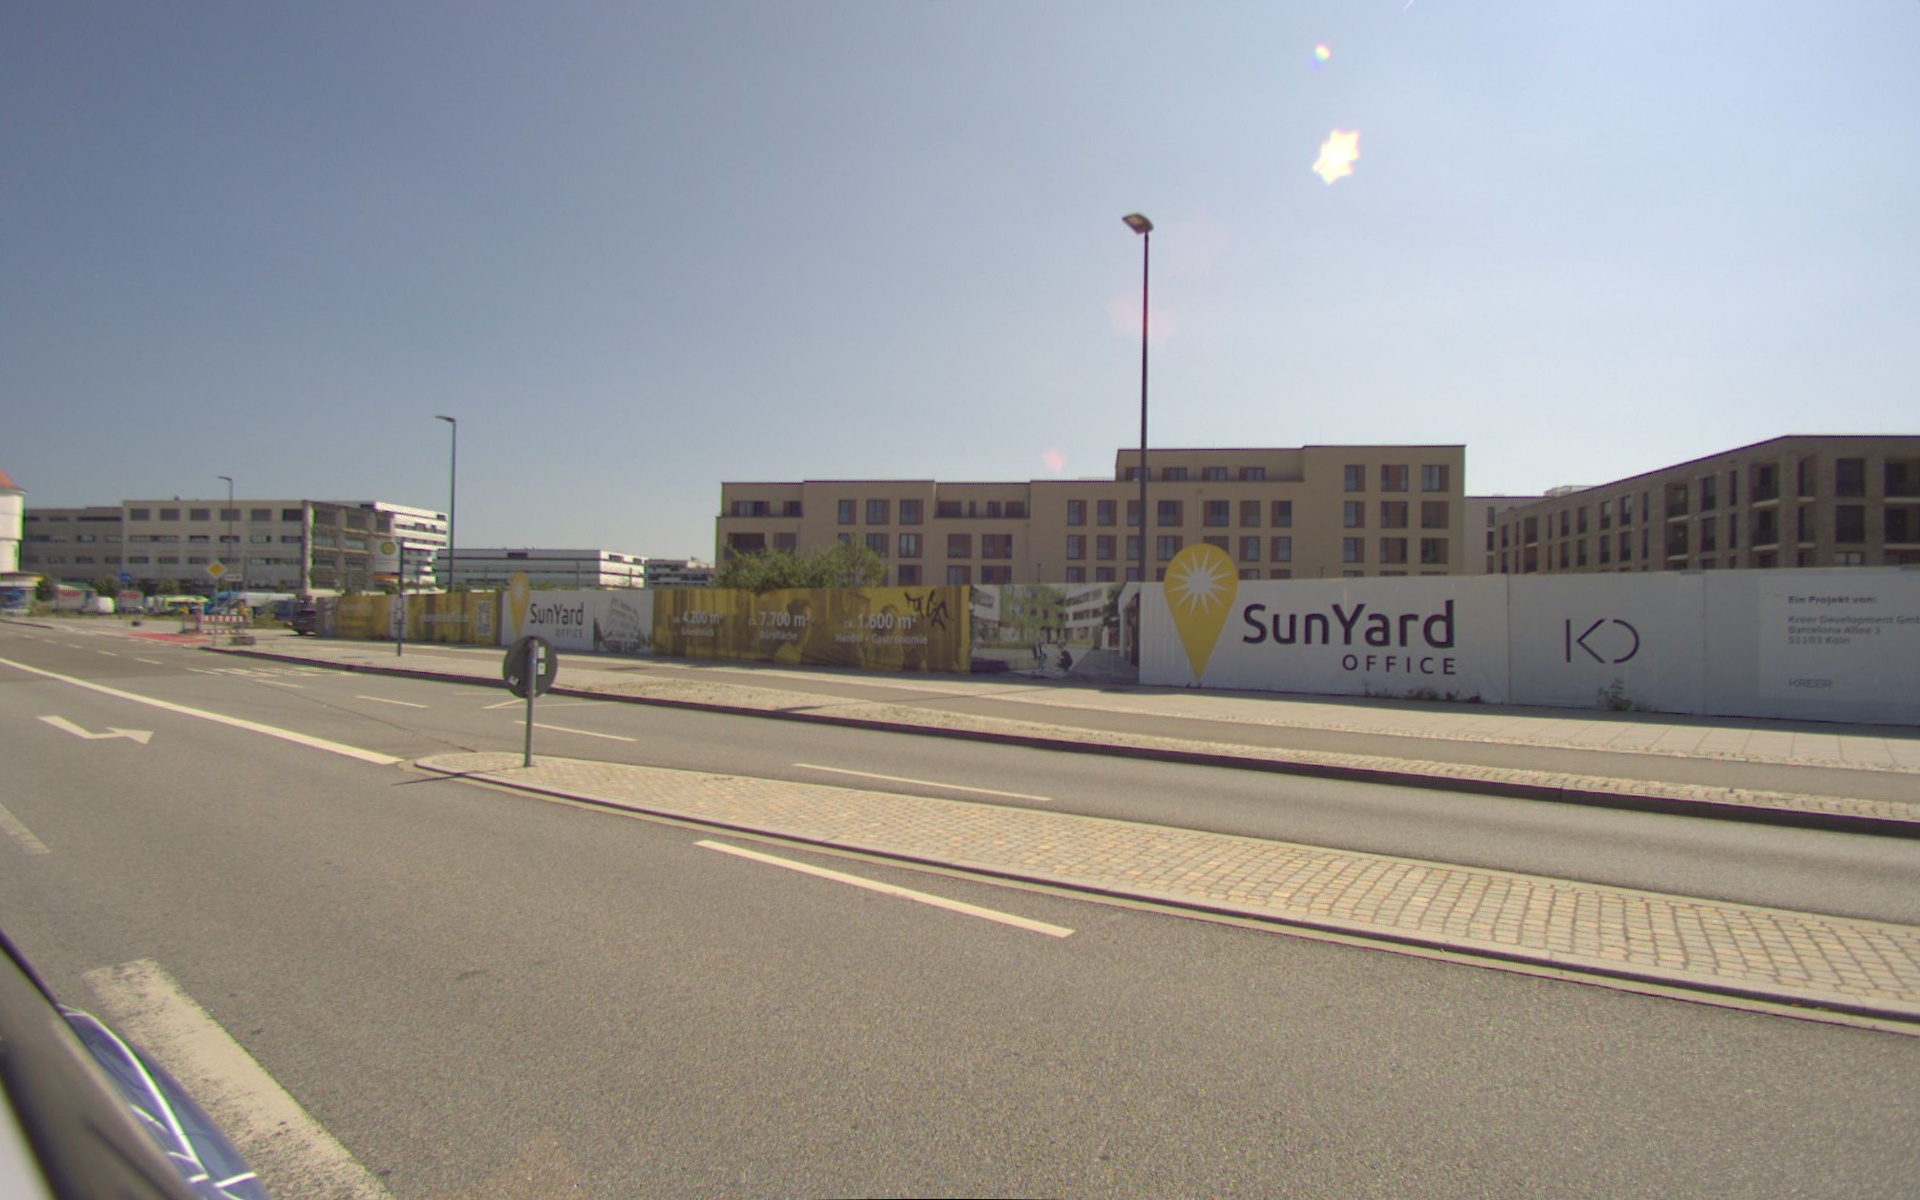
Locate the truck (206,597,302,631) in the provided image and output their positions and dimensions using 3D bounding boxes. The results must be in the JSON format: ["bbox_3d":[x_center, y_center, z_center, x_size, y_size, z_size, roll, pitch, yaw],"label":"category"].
[{"bbox_3d":[-53.107,1.102,76.237,2.273,2.381,5.511,-1,-3,39],"label":"truck"}]

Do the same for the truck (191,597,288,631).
[{"bbox_3d":[-58.047,1.176,81.636,2.274,2.563,5.942,-1,-3,41],"label":"truck"}]

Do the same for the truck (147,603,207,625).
[{"bbox_3d":[-105.775,1.860,136.840,2.570,2.923,6.080,1,1,41],"label":"truck"}]

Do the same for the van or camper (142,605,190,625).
[{"bbox_3d":[-109.174,2.031,139.165,2.258,2.682,4.849,-1,-1,40],"label":"van or camper"}]

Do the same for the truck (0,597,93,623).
[{"bbox_3d":[-148.377,1.535,164.529,3.281,4.098,10.897,1,0,23],"label":"truck"}]

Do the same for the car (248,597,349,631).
[{"bbox_3d":[-45.943,0.977,70.401,2.391,2.190,5.392,-1,-2,37],"label":"car"}]

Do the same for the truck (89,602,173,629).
[{"bbox_3d":[-143.189,2.590,174.950,3.331,4.307,10.841,1,0,29],"label":"truck"}]

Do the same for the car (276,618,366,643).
[{"bbox_3d":[-35.001,1.682,55.560,1.975,1.328,4.240,1,-2,5],"label":"car"}]

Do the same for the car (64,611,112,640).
[{"bbox_3d":[-50.637,1.475,58.758,3.678,1.488,1.590,1,-3,42],"label":"car"}]

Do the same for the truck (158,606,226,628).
[{"bbox_3d":[-99.989,2.215,131.854,2.596,2.847,6.581,-1,-1,34],"label":"truck"}]
